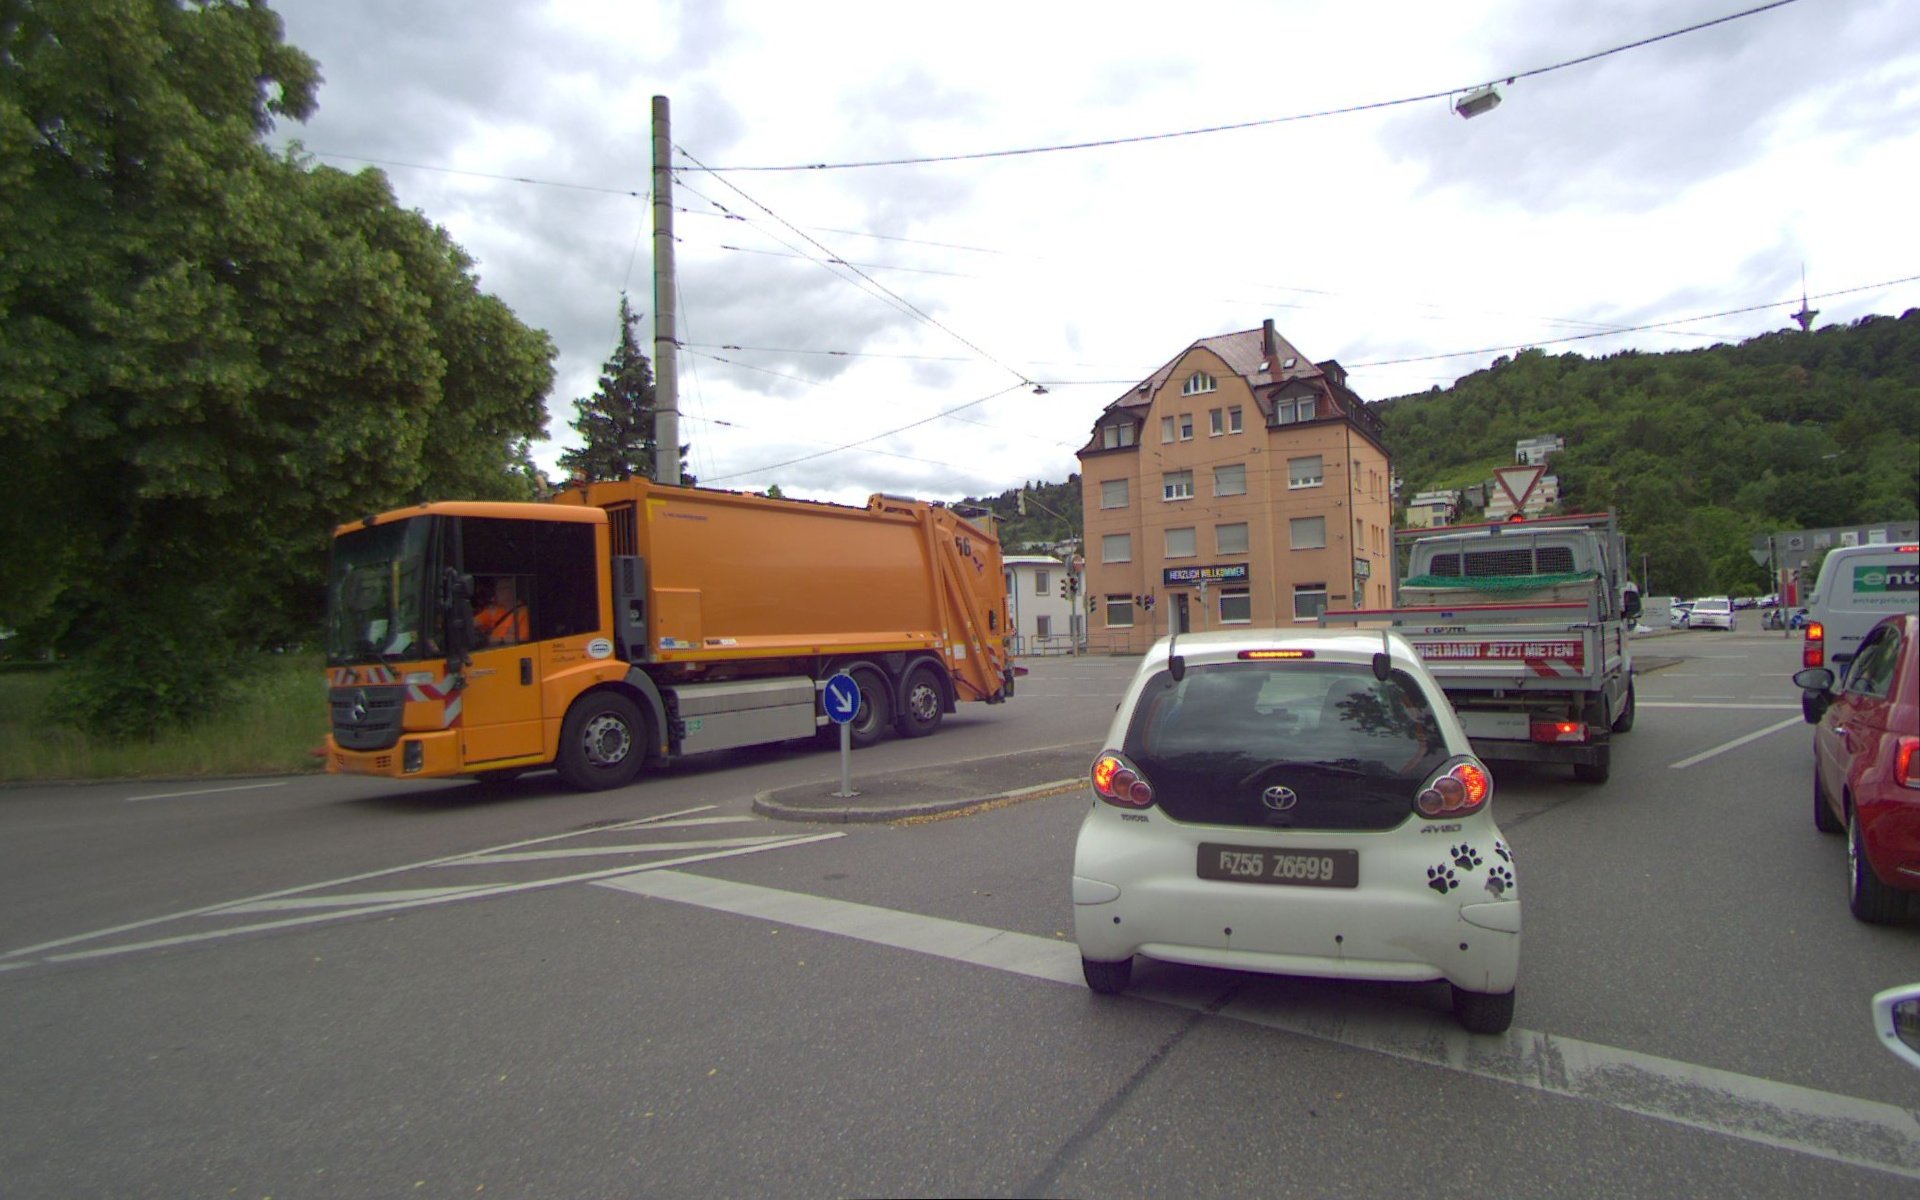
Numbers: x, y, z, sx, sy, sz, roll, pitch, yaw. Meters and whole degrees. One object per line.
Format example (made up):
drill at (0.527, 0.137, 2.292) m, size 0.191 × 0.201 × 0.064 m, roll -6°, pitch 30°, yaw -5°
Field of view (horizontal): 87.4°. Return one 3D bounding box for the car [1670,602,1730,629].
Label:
car at (46.835, 0.987, 63.644) m, size 1.740 × 1.553 × 4.092 m, roll -3°, pitch -2°, yaw 17°

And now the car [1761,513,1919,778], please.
car at (9.596, 0.346, 9.579) m, size 4.719 × 2.134 × 1.975 m, roll -1°, pitch -3°, yaw -38°

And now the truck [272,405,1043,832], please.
truck at (-2.740, 0.174, 13.474) m, size 2.752 × 3.573 × 10.386 m, roll -2°, pitch -1°, yaw 35°

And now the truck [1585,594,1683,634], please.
truck at (45.288, 0.968, 67.630) m, size 5.101 × 2.424 × 1.999 m, roll -3°, pitch -2°, yaw 23°

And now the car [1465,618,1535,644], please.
car at (37.157, 2.135, 69.139) m, size 4.141 × 1.553 × 1.773 m, roll -3°, pitch -2°, yaw 29°

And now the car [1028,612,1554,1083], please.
car at (1.583, 0.846, 5.001) m, size 1.612 × 1.451 × 3.431 m, roll -3°, pitch -2°, yaw 19°

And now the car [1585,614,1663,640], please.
car at (43.109, 1.760, 65.264) m, size 4.149 × 1.553 × 1.770 m, roll -4°, pitch -2°, yaw 35°

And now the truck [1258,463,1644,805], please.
truck at (5.334, 0.322, 10.259) m, size 2.391 × 2.429 × 6.006 m, roll -4°, pitch -3°, yaw 36°

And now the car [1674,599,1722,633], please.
car at (42.907, 0.906, 58.395) m, size 1.839 × 1.841 × 4.379 m, roll -4°, pitch -2°, yaw 41°

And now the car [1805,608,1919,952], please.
car at (5.636, 0.775, 5.340) m, size 1.619 × 1.476 × 3.415 m, roll -2°, pitch -2°, yaw 39°
